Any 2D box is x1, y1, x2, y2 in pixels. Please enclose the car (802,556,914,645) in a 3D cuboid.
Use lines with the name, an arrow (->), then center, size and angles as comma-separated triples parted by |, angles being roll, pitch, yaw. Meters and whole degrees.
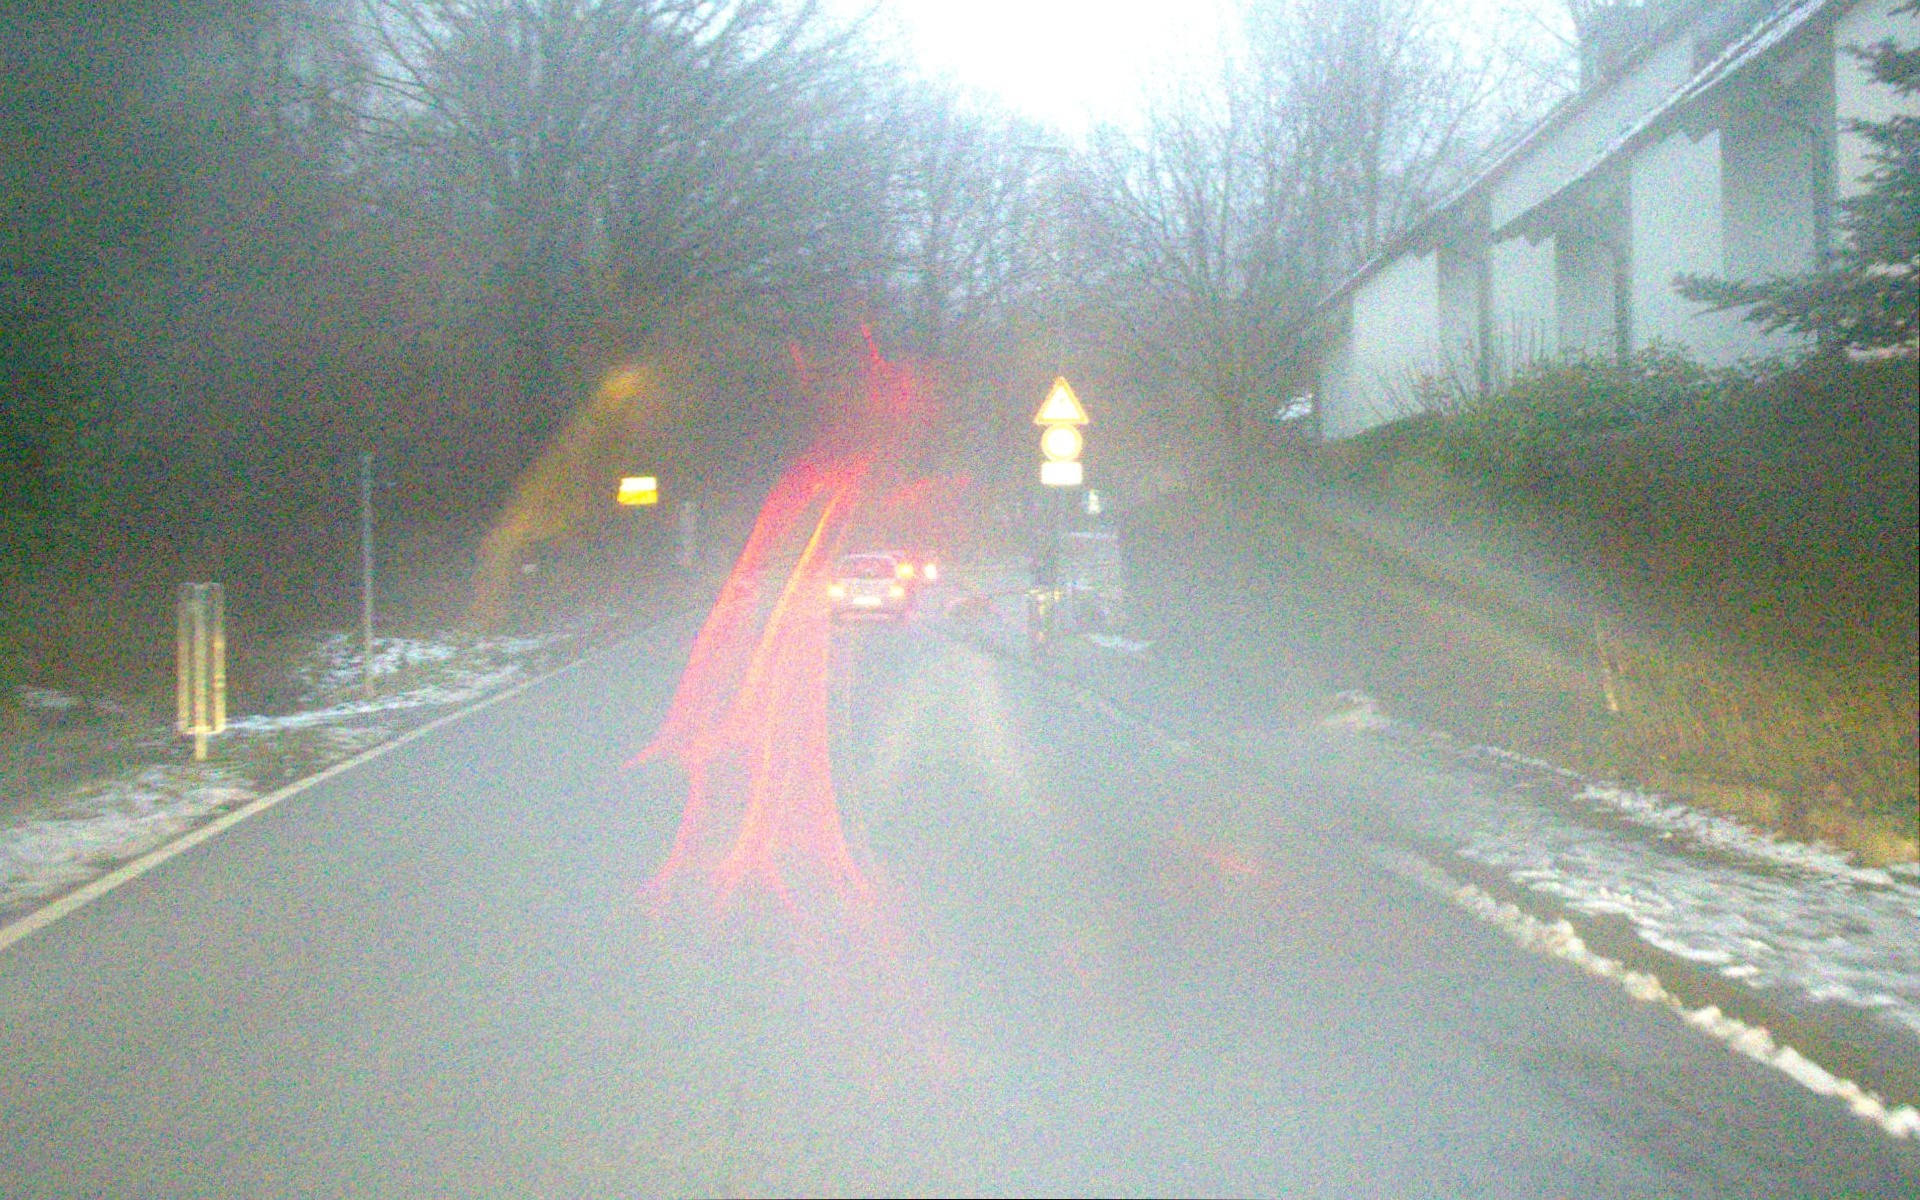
car -> -2.119, -0.024, 72.382 | 1.933, 1.775, 4.000 | 0, 1, 4
